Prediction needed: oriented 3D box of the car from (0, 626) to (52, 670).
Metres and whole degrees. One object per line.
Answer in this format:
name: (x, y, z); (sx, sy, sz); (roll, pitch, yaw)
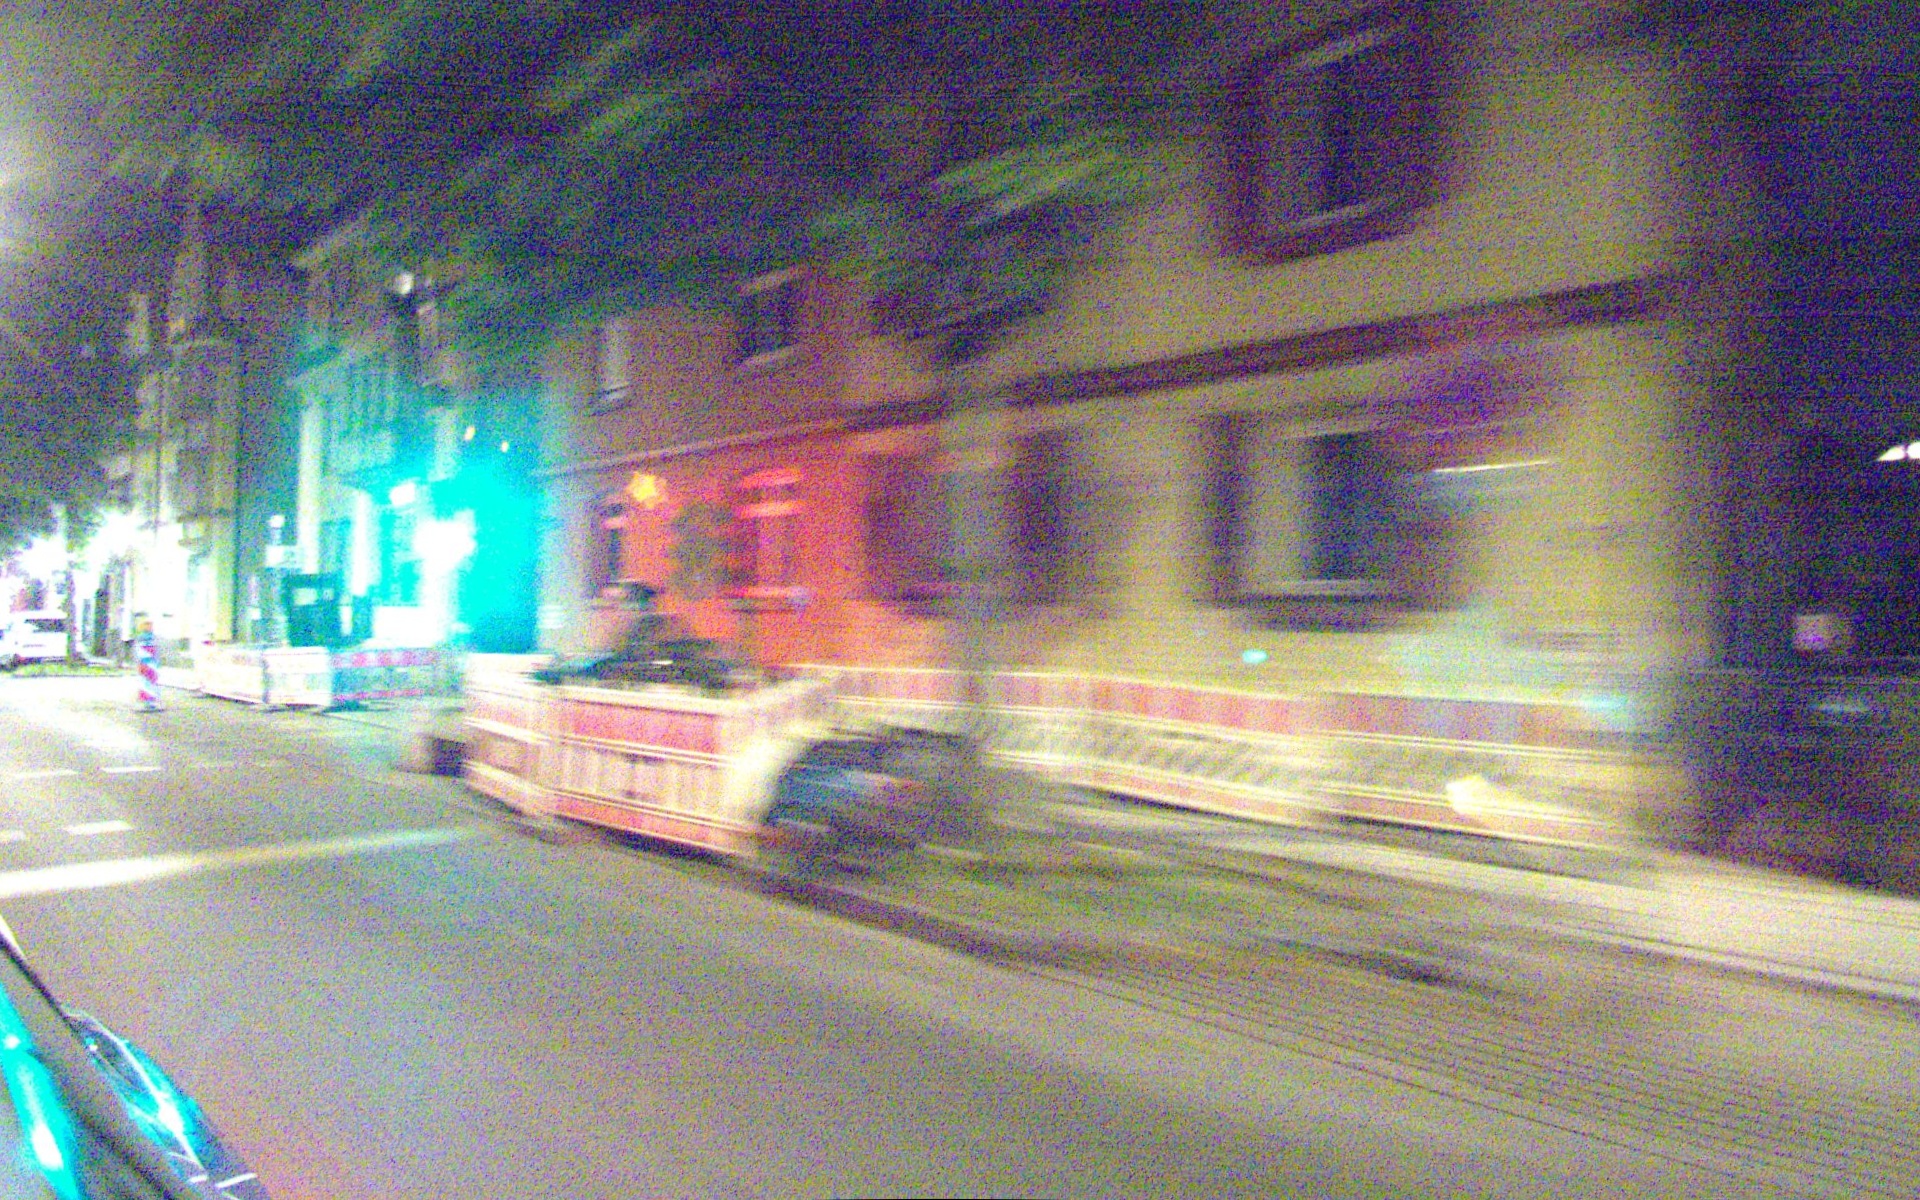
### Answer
car: (-34.681, 1.725, 36.921); (4.880, 1.461, 1.819); (-1, -1, 43)

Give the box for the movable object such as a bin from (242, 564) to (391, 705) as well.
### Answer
movable object such as a bin: (-13.387, 0.705, 20.961); (3.909, 2.647, 1.554); (-1, -3, 42)

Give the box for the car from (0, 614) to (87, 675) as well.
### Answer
car: (-30.407, 1.408, 33.259); (4.812, 1.857, 1.863); (-1, -2, 41)
